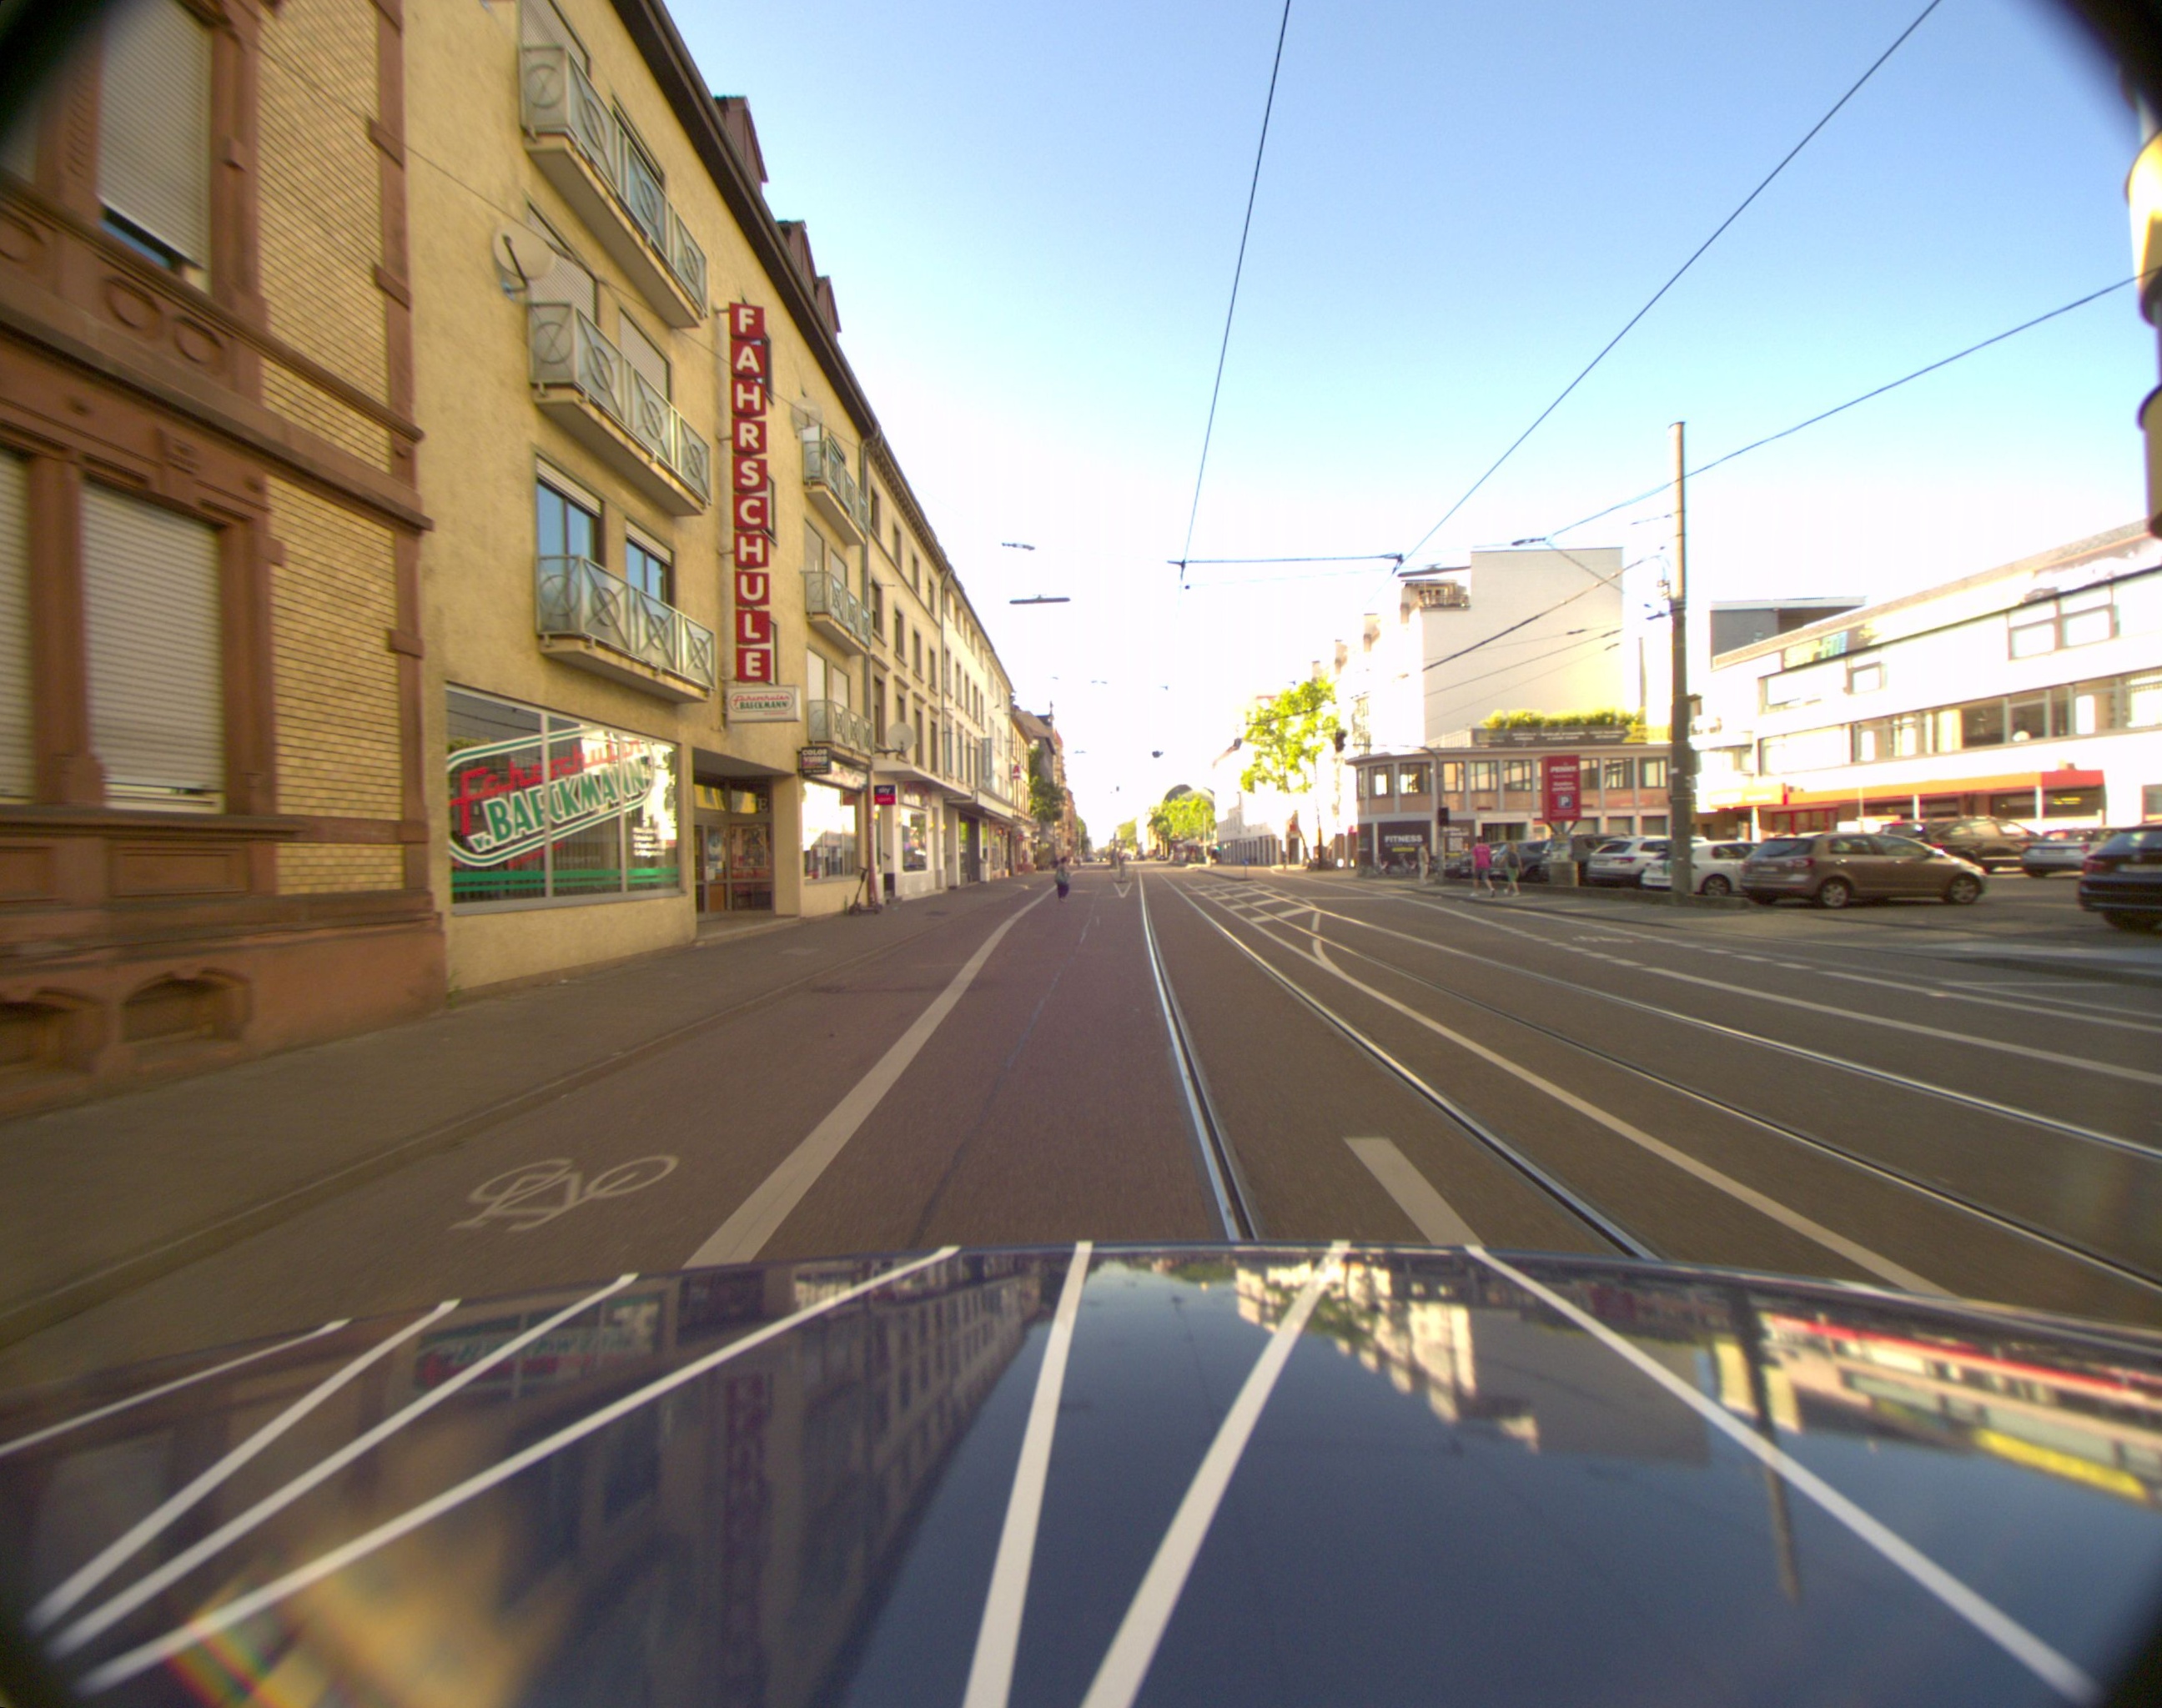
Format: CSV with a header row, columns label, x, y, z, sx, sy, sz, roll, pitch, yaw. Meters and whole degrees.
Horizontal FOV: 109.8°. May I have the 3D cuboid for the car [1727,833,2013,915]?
label,x,y,z,sx,sy,sz,roll,pitch,yaw
car,16.819,0.398,16.373,4.243,1.539,1.785,-2,1,1

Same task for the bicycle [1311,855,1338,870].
label,x,y,z,sx,sy,sz,roll,pitch,yaw
bicycle,18.502,0.640,57.723,1.876,1.071,0.465,-1,1,10

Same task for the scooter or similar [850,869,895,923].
label,x,y,z,sx,sy,sz,roll,pitch,yaw
scooter or similar,-5.225,1.026,19.116,0.410,1.274,1.285,-1,1,18

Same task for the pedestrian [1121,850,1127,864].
label,x,y,z,sx,sy,sz,roll,pitch,yaw
pedestrian,5.161,0.352,90.719,0.716,1.635,0.400,-1,1,4

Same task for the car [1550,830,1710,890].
label,x,y,z,sx,sy,sz,roll,pitch,yaw
car,17.196,0.174,23.936,3.698,1.663,1.785,-2,0,2

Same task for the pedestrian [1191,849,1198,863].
label,x,y,z,sx,sy,sz,roll,pitch,yaw
pedestrian,13.701,0.277,91.799,0.794,1.635,0.747,-1,1,2

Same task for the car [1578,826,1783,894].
label,x,y,z,sx,sy,sz,roll,pitch,yaw
car,16.637,0.124,21.256,4.243,1.802,1.785,0,2,1

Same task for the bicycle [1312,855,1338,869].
label,x,y,z,sx,sy,sz,roll,pitch,yaw
bicycle,19.238,0.620,59.949,1.877,1.071,0.511,-1,1,7

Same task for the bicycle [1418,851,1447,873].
label,x,y,z,sx,sy,sz,roll,pitch,yaw
bicycle,17.826,0.382,38.591,0.464,1.081,1.878,-1,1,-6

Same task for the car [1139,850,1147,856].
label,x,y,z,sx,sy,sz,roll,pitch,yaw
car,17.814,-0.183,219.112,1.998,1.608,4.001,-2,0,2

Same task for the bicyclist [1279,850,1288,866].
label,x,y,z,sx,sy,sz,roll,pitch,yaw
bicyclist,17.455,0.299,65.438,0.564,1.354,0.718,0,2,-1

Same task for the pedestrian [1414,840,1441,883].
label,x,y,z,sx,sy,sz,roll,pitch,yaw
pedestrian,14.220,0.307,31.186,0.715,1.754,0.780,-1,1,-6

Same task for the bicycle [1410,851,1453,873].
label,x,y,z,sx,sy,sz,roll,pitch,yaw
bicycle,17.178,0.403,37.229,1.874,1.030,0.426,-1,0,26

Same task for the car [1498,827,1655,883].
label,x,y,z,sx,sy,sz,roll,pitch,yaw
car,17.130,0.036,26.421,4.243,1.801,1.785,-1,0,2

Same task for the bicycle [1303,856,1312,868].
label,x,y,z,sx,sy,sz,roll,pitch,yaw
bicycle,17.564,0.603,58.885,0.470,0.926,1.755,-1,0,11

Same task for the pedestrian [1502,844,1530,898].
label,x,y,z,sx,sy,sz,roll,pitch,yaw
pedestrian,13.277,0.512,23.199,0.573,1.608,0.499,-1,1,0

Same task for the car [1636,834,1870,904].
label,x,y,z,sx,sy,sz,roll,pitch,yaw
car,16.688,0.358,19.032,4.243,1.600,1.785,-1,0,2

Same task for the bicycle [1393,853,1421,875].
label,x,y,z,sx,sy,sz,roll,pitch,yaw
bicycle,16.719,0.512,38.965,0.464,1.073,1.878,-1,0,-6

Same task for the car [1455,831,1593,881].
label,x,y,z,sx,sy,sz,roll,pitch,yaw
car,17.016,0.069,29.338,4.243,1.801,1.785,-1,0,1

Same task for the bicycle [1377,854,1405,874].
label,x,y,z,sx,sy,sz,roll,pitch,yaw
bicycle,16.053,0.500,39.379,0.525,1.030,1.878,-1,0,-6

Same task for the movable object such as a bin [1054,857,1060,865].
label,x,y,z,sx,sy,sz,roll,pitch,yaw
movable object such as a bin,-3.017,0.874,95.681,0.717,1.062,0.637,-2,0,1

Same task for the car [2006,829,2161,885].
label,x,y,z,sx,sy,sz,roll,pitch,yaw
car,28.743,0.057,21.295,3.646,1.473,1.626,0,2,-1

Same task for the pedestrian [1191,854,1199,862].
label,x,y,z,sx,sy,sz,roll,pitch,yaw
pedestrian,14.362,0.562,95.695,0.794,0.982,0.747,-1,1,2

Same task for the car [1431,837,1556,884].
label,x,y,z,sx,sy,sz,roll,pitch,yaw
car,17.185,0.255,31.797,4.243,1.753,1.785,-2,0,1

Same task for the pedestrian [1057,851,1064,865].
label,x,y,z,sx,sy,sz,roll,pitch,yaw
pedestrian,-2.441,0.504,90.771,0.695,1.680,0.688,2,1,2

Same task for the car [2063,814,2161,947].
label,x,y,z,sx,sy,sz,roll,pitch,yaw
car,16.674,0.312,10.334,4.243,1.801,1.785,-1,0,2

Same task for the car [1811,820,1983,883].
label,x,y,z,sx,sy,sz,roll,pitch,yaw
car,25.707,-0.086,24.032,3.587,1.738,1.695,-3,0,-1

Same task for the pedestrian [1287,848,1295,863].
label,x,y,z,sx,sy,sz,roll,pitch,yaw
pedestrian,23.817,0.165,86.215,0.747,1.635,0.731,-1,1,2

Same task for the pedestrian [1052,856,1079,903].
label,x,y,z,sx,sy,sz,roll,pitch,yaw
pedestrian,-0.539,0.858,25.983,0.781,1.551,0.649,-1,1,-13

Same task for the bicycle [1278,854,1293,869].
label,x,y,z,sx,sy,sz,roll,pitch,yaw
bicycle,17.600,0.621,65.399,0.565,1.117,2.004,-10,1,0

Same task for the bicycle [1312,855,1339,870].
label,x,y,z,sx,sy,sz,roll,pitch,yaw
bicycle,18.734,0.637,58.178,1.876,1.071,0.465,-1,1,10

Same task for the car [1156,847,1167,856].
label,x,y,z,sx,sy,sz,roll,pitch,yaw
car,18.507,-0.565,174.925,1.884,2.001,4.000,-3,-1,0

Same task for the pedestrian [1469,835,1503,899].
label,x,y,z,sx,sy,sz,roll,pitch,yaw
pedestrian,12.430,0.393,23.309,0.639,1.935,0.709,-1,1,0

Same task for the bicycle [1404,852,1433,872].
label,x,y,z,sx,sy,sz,roll,pitch,yaw
bicycle,17.290,0.406,38.913,0.464,1.030,1.878,-1,0,-6
